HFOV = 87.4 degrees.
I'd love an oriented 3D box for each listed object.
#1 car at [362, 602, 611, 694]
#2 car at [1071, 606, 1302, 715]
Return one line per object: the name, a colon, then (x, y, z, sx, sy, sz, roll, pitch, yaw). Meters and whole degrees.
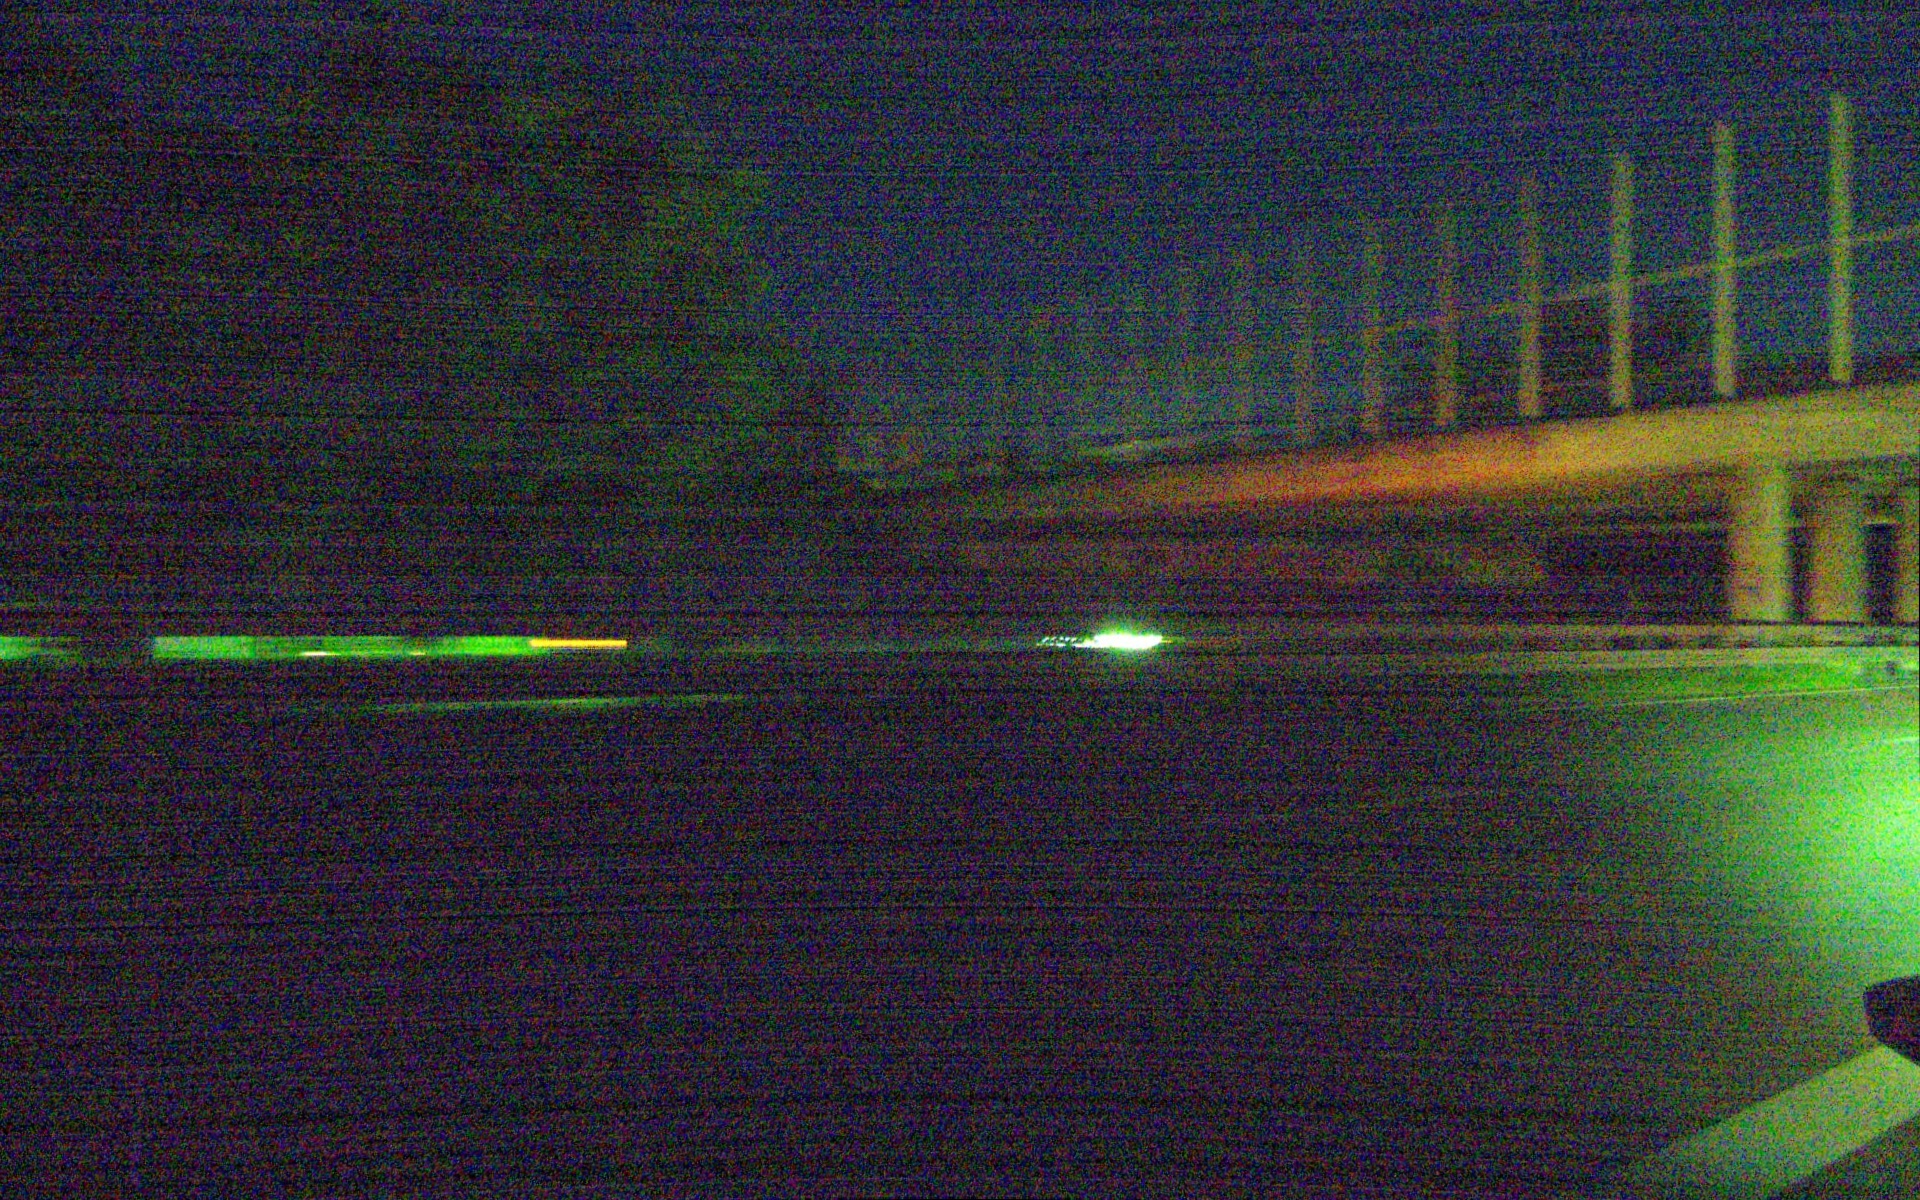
car: (-8.724, 0.877, 18.644, 3.952, 1.539, 1.984, 2, -1, -30)
car: (4.750, 1.205, 20.936, 4.553, 2.040, 1.984, 2, 0, -30)
